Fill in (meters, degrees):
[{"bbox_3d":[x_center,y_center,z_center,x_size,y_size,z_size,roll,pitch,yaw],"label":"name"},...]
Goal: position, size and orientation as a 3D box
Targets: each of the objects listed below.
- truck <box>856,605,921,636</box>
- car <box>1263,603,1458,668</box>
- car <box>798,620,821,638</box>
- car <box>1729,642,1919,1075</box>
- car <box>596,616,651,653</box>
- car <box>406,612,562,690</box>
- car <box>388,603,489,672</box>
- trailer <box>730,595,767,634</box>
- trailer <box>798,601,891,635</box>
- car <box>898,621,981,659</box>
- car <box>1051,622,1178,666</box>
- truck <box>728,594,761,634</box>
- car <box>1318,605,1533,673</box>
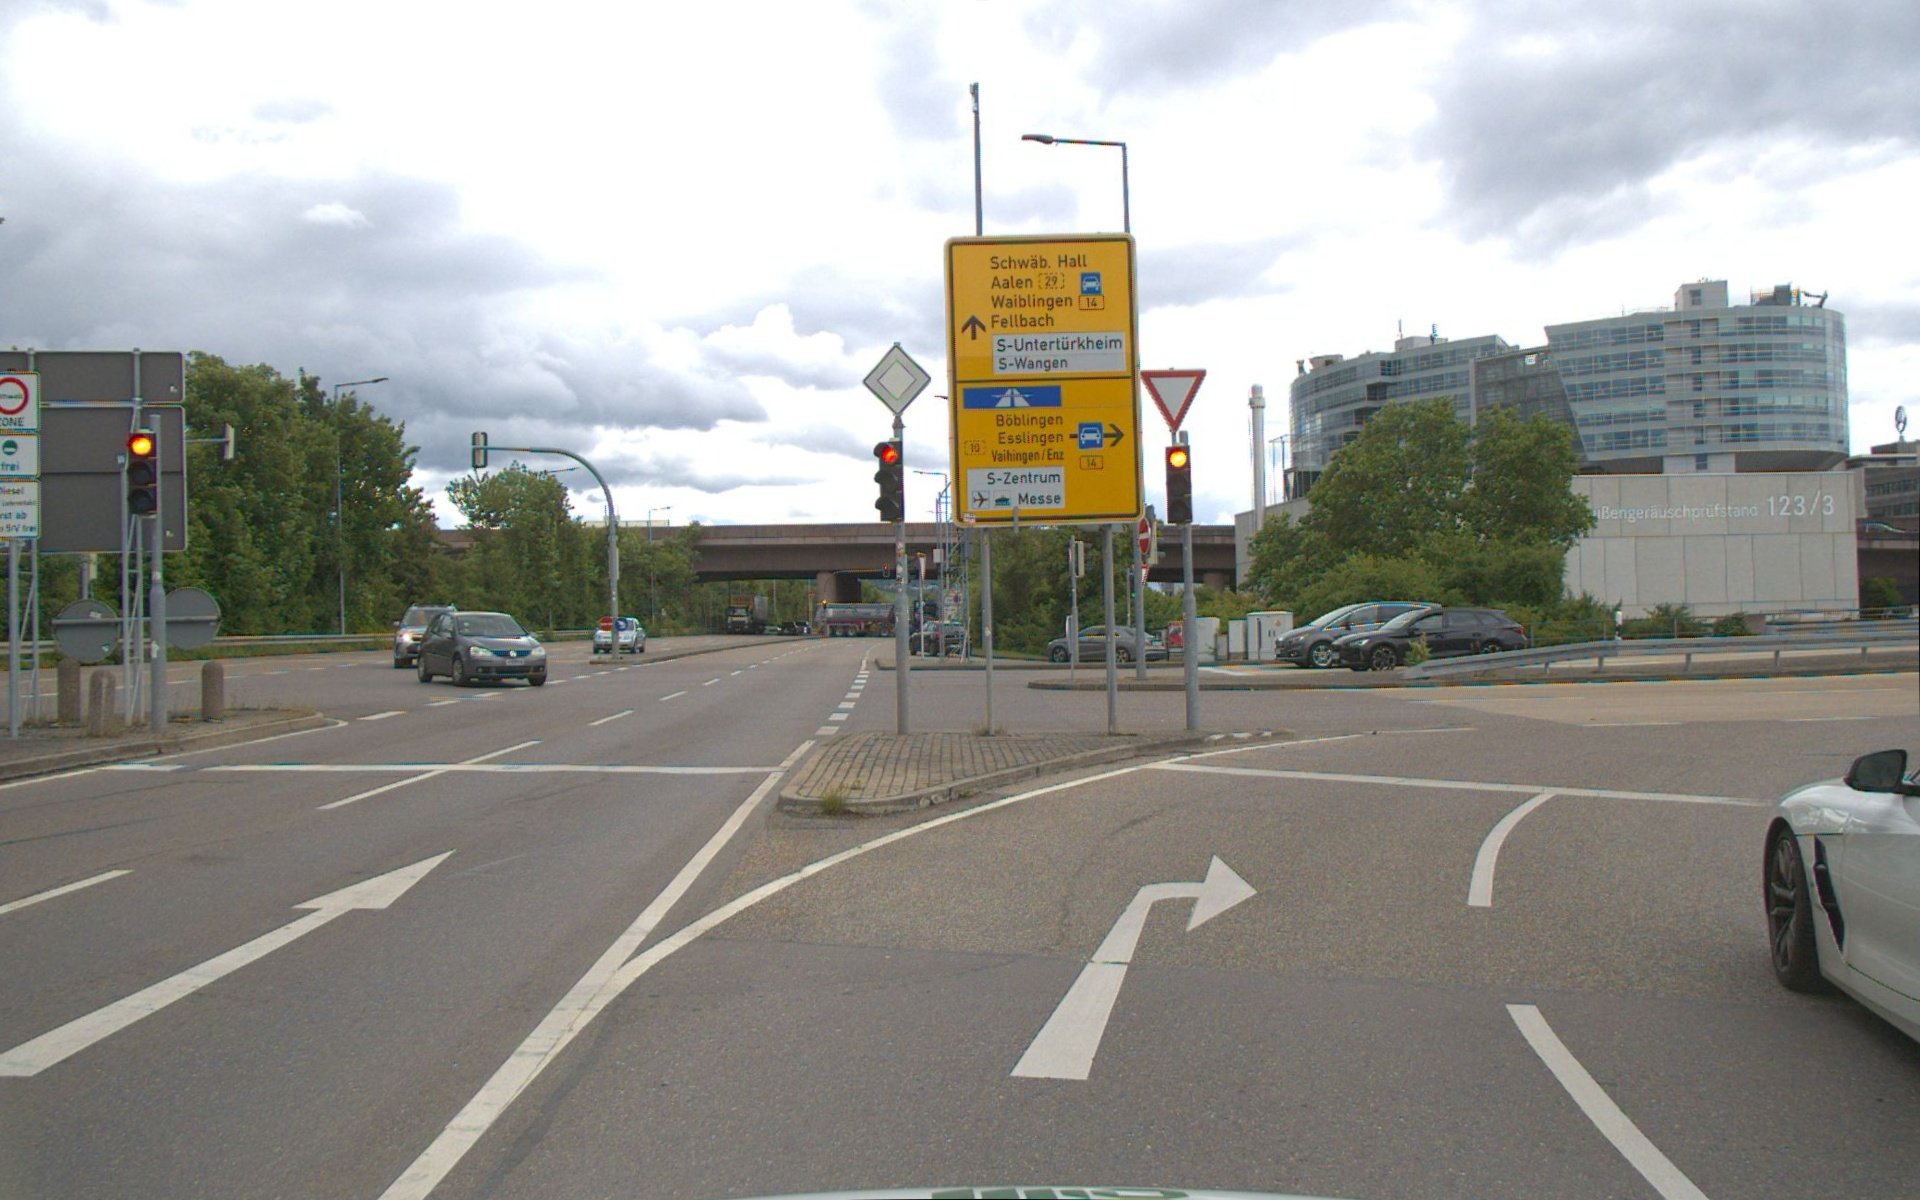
[{"bbox_3d":[-6.752,1.946,157.094,5.639,2.669,2.623,3,-1,9],"label":"truck"},{"bbox_3d":[10.412,0.900,43.183,4.586,1.599,1.954,-1,0,-5],"label":"car"},{"bbox_3d":[-16.489,3.156,180.948,1.952,1.892,4.001,2,0,2],"label":"car"},{"bbox_3d":[3.928,0.844,5.222,1.766,1.314,4.267,0,0,11],"label":"car"},{"bbox_3d":[-13.926,1.420,68.597,1.690,1.425,4.063,-1,0,-4],"label":"car"},{"bbox_3d":[-9.770,1.026,33.759,1.711,1.487,4.189,2,-2,-36],"label":"car"},{"bbox_3d":[-14.342,0.986,45.712,1.691,1.767,4.551,-1,0,-5],"label":"car"},{"bbox_3d":[-23.462,1.567,184.184,2.813,4.156,11.423,1,0,-1],"label":"trailer"},{"bbox_3d":[-10.998,1.718,157.940,8.362,2.669,2.611,3,-1,16],"label":"trailer"},{"bbox_3d":[-0.872,1.679,67.924,1.967,1.490,4.079,1,-3,-24],"label":"car"},{"bbox_3d":[5.371,1.552,57.730,4.034,1.467,1.989,-2,-3,41],"label":"car"},{"bbox_3d":[-23.313,1.491,178.965,2.813,4.156,6.485,1,0,-1],"label":"truck"},{"bbox_3d":[10.975,0.904,39.163,4.518,1.483,1.953,-1,0,-7],"label":"car"}]
